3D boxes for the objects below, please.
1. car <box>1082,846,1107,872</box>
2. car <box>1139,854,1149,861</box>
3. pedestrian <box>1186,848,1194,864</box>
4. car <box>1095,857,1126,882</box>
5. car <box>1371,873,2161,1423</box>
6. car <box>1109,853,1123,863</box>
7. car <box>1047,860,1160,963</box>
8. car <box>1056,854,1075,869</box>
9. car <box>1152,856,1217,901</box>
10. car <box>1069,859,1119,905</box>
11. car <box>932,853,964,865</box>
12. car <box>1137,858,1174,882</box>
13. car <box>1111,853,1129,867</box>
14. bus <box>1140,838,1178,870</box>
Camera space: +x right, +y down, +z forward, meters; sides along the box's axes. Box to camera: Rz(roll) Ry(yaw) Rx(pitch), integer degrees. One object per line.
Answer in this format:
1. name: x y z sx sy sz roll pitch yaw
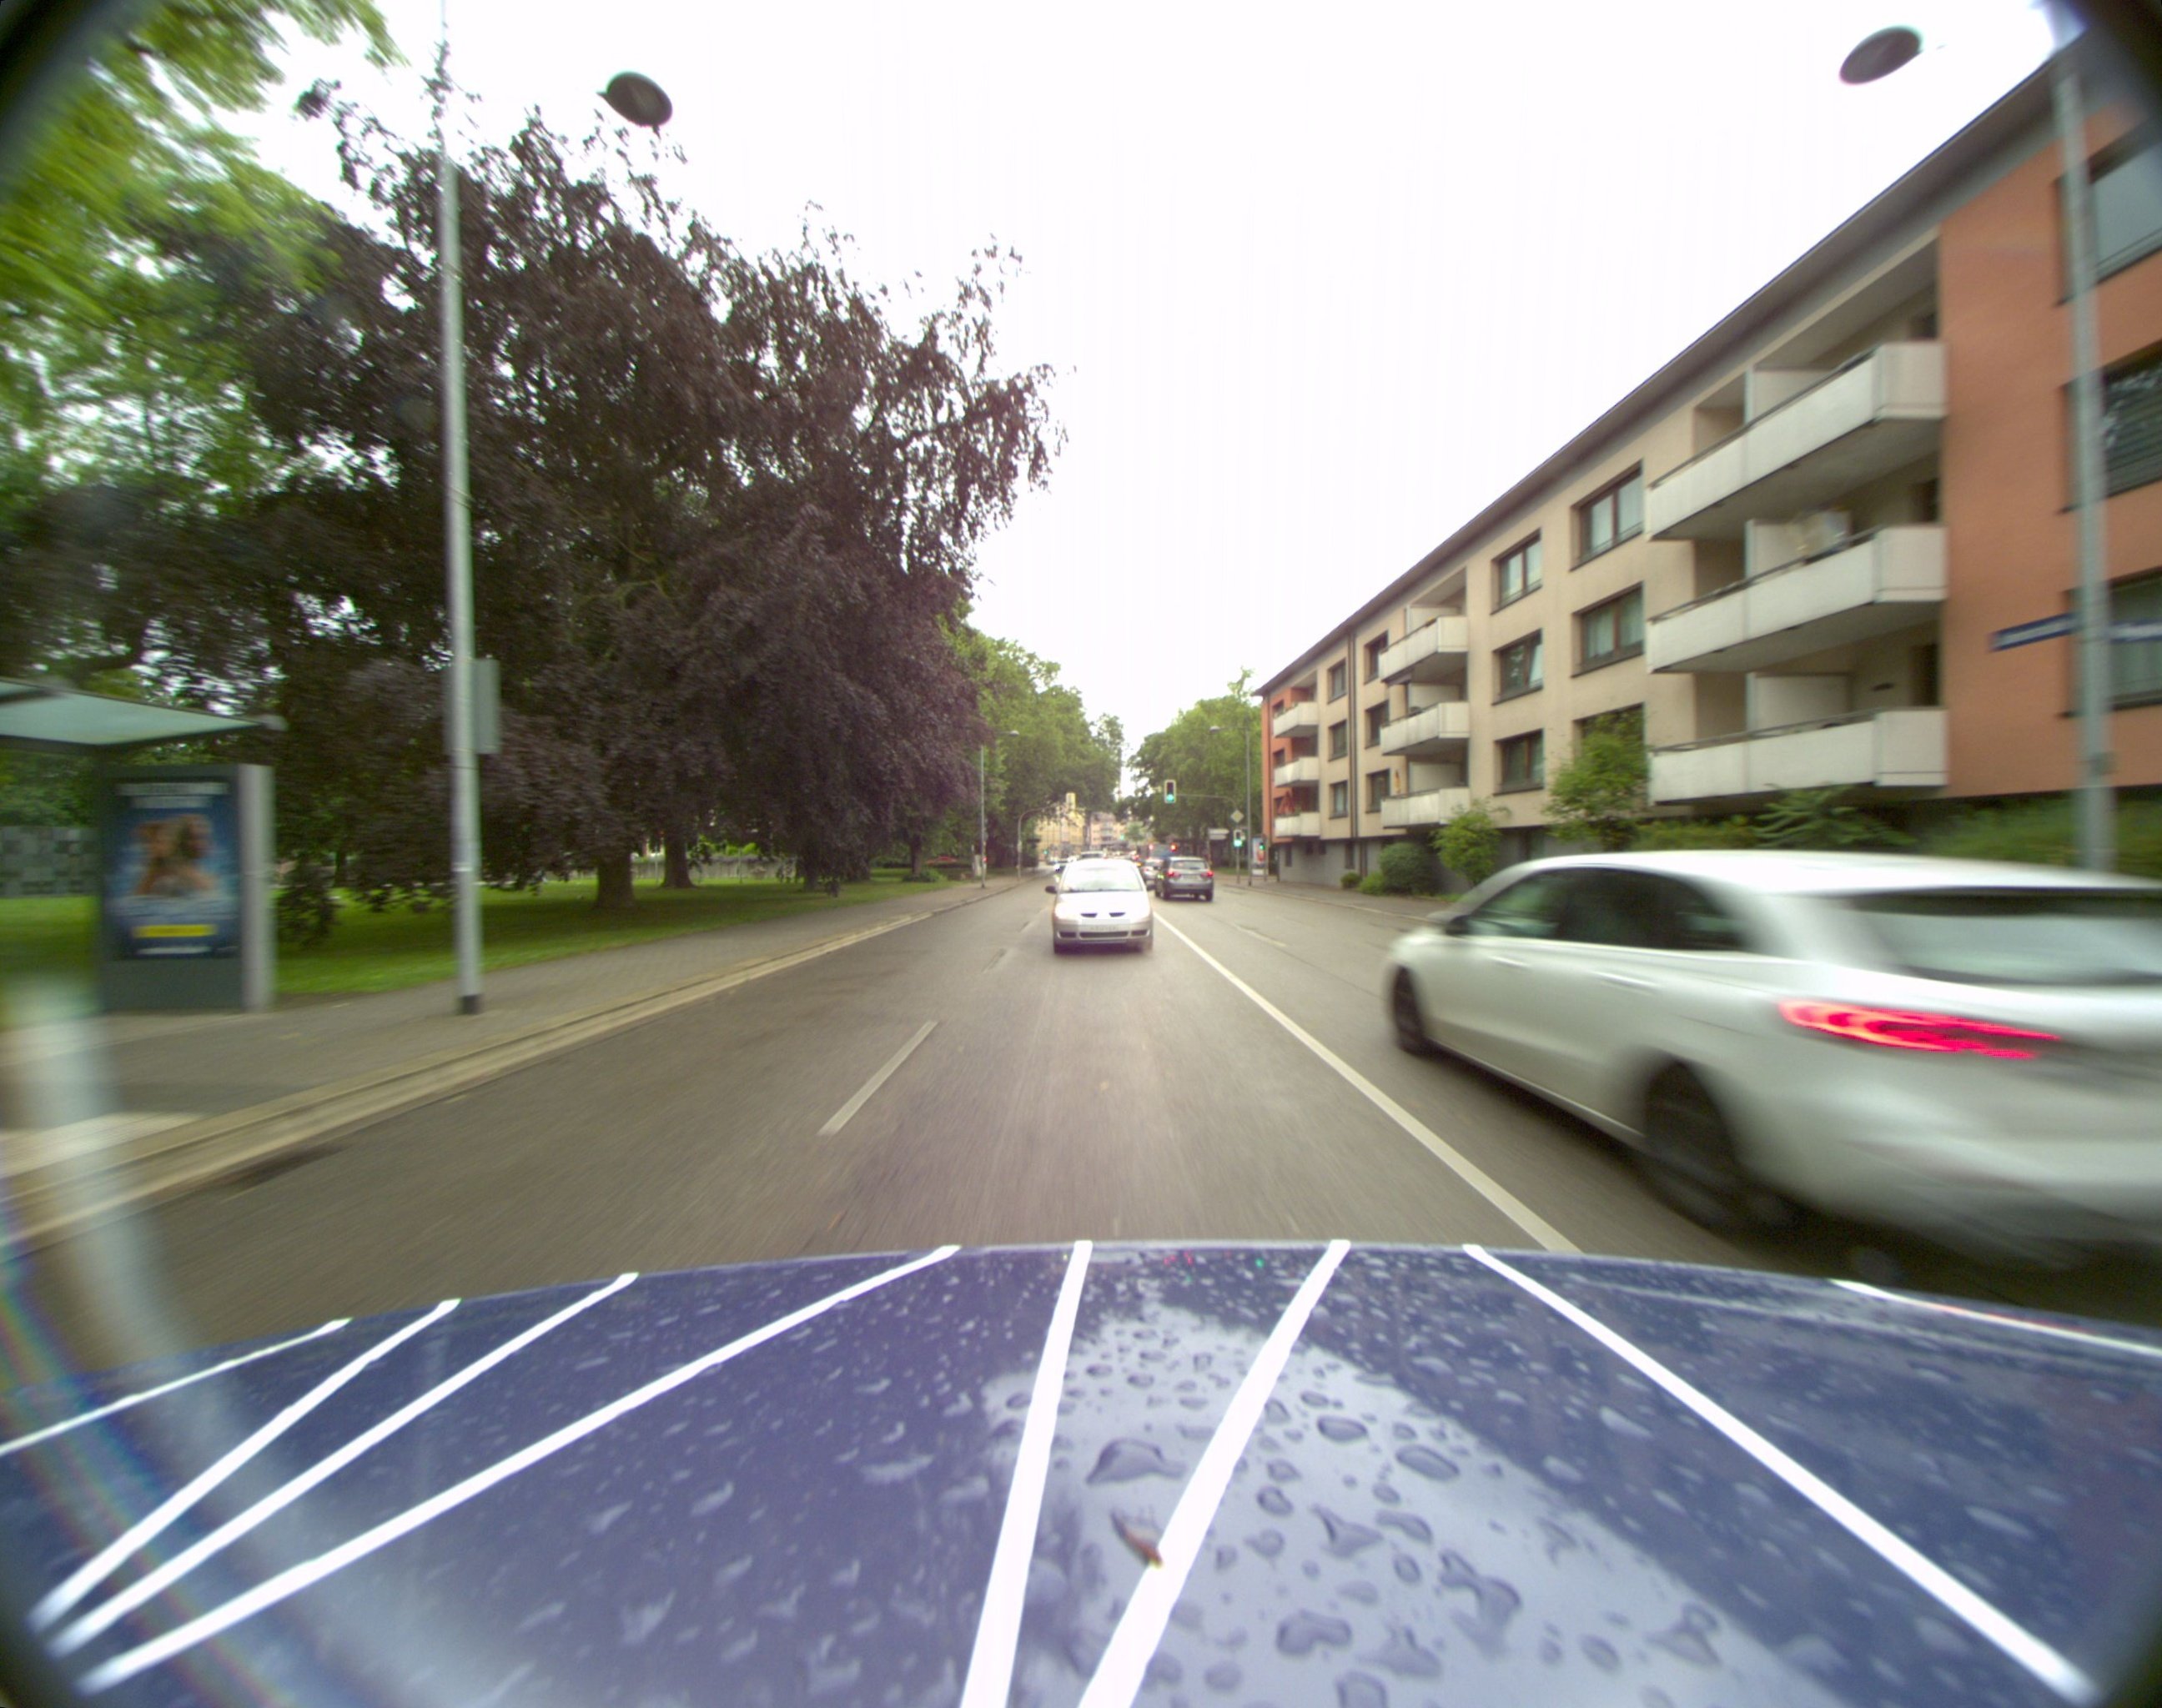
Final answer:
1. car: 1.177 0.406 64.518 2.037 2.119 4.000 -1 1 2
2. car: 13.579 0.754 165.081 1.802 1.508 4.807 1 0 0
3. pedestrian: 12.265 0.212 85.184 0.711 1.759 0.687 -3 1 1
4. car: 1.769 0.907 46.794 1.800 1.449 4.491 0 0 1
5. car: 3.279 0.874 4.202 1.786 1.465 4.167 0 0 0
6. car: 4.920 0.585 107.584 1.798 1.407 4.335 0 0 0
7. car: 0.366 0.926 14.385 1.718 1.509 4.807 -3 0 0
8. car: -1.717 0.854 86.751 1.906 1.537 4.000 -1 1 2
9. car: 3.822 0.872 28.665 1.818 1.569 4.231 0 0 -1
10. car: 0.474 0.989 28.586 1.718 1.509 4.088 -1 0 0
11. car: -18.329 0.692 104.917 3.998 1.706 2.000 0 0 -2
12. car: 4.499 0.928 46.453 1.818 1.407 4.048 0 0 0
13. car: 4.005 0.613 79.223 1.691 1.483 3.890 1 0 0
14. bus: 7.749 -0.053 76.909 2.700 2.923 12.083 0 1 1
